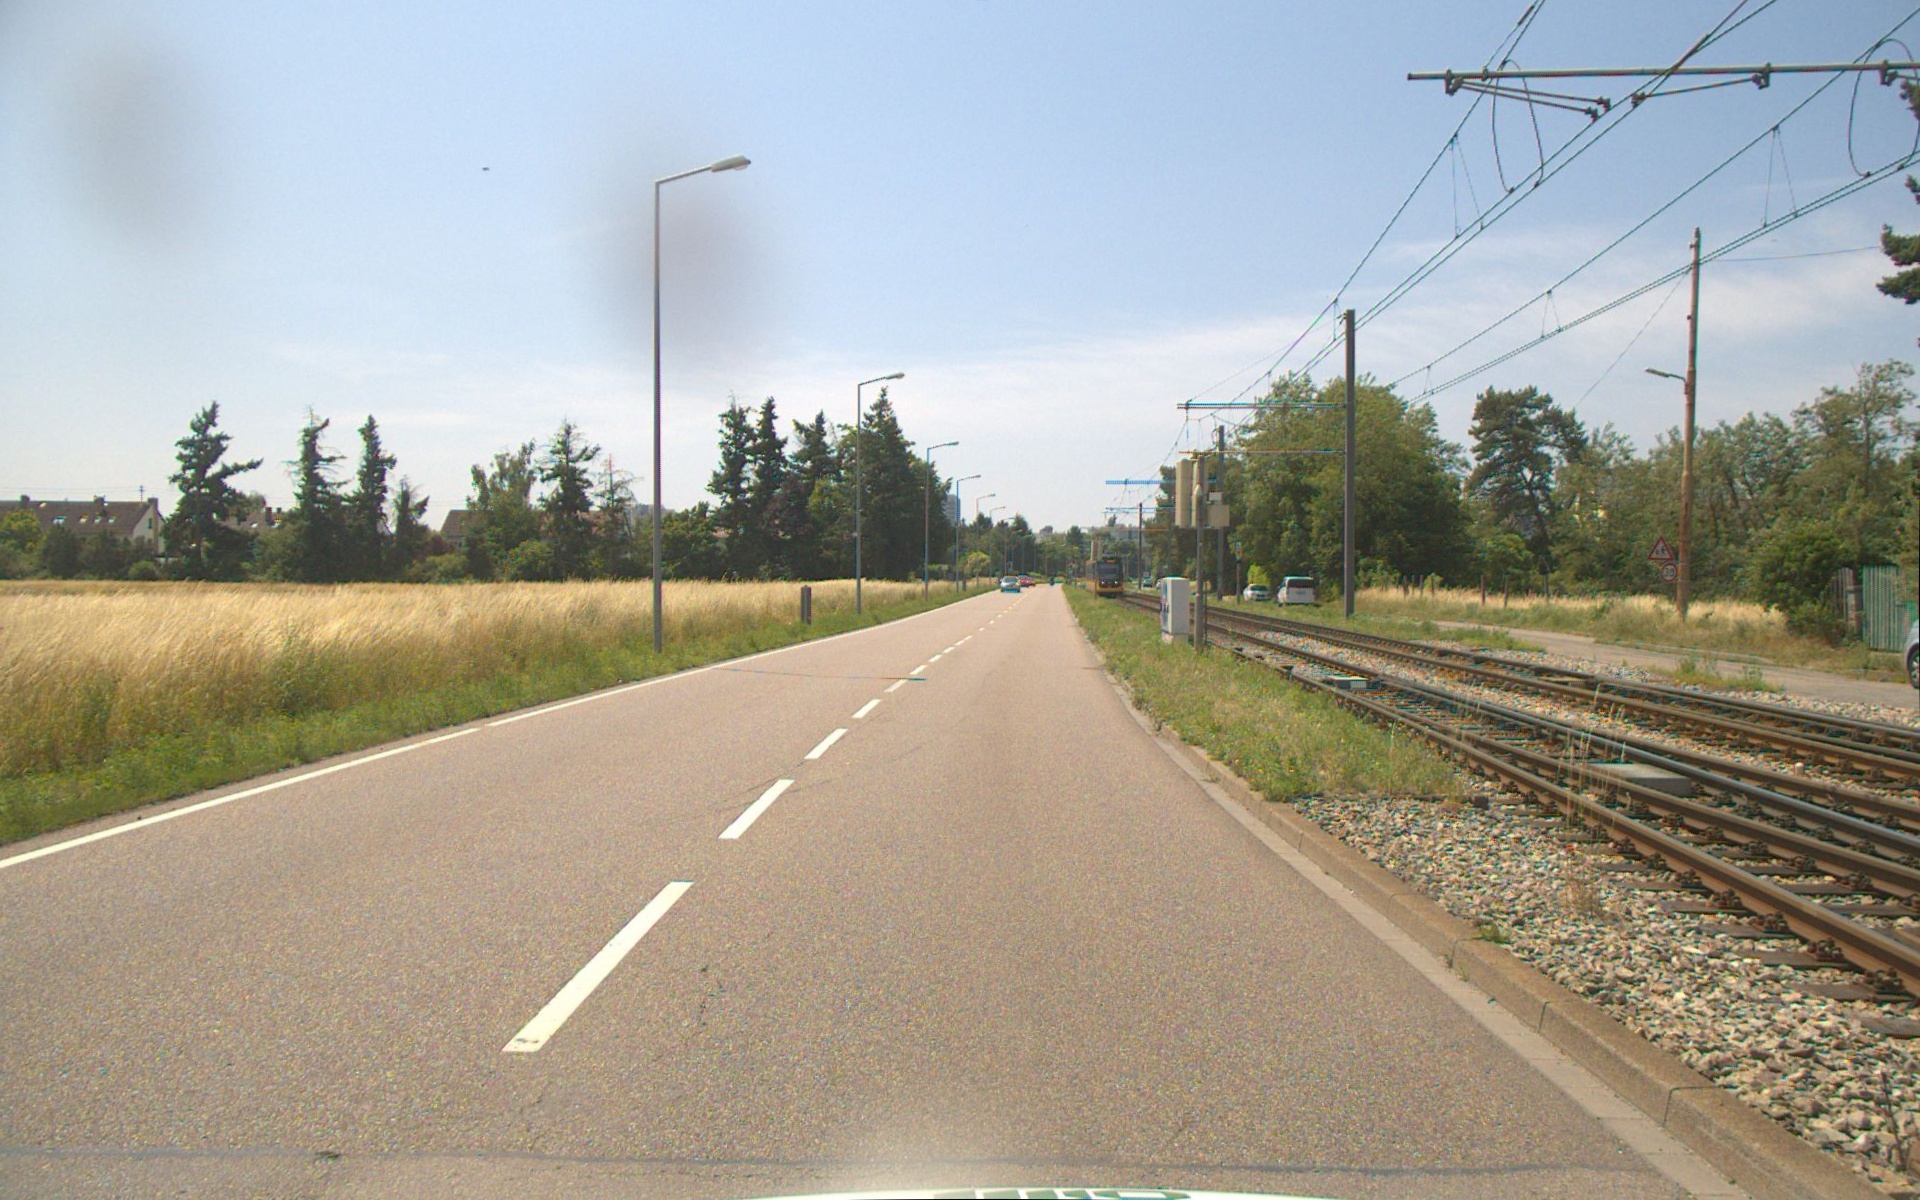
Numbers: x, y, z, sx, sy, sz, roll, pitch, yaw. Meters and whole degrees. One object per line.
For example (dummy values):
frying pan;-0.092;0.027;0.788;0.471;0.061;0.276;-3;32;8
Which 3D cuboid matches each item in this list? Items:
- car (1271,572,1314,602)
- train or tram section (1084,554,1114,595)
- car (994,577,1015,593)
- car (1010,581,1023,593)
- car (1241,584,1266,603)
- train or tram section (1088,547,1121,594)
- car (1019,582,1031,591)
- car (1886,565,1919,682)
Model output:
car;20.658;-0.775;103.007;1.952;1.834;4.796;0;0;3
train or tram section;13.388;-2.423;159.316;2.645;3.832;6.732;0;0;3
car;4.239;-1.423;156.902;1.796;1.493;4.680;0;0;3
car;7.163;-1.654;208.978;1.611;1.424;3.846;0;0;3
car;21.703;-0.460;122.304;1.398;1.331;3.467;0;0;3
train or tram section;12.493;-2.489;143.425;2.378;3.832;11.563;0;0;3
car;10.153;-2.075;256.828;1.769;1.308;4.287;0;0;3
car;16.587;0.380;25.645;1.993;1.915;5.072;0;0;5
